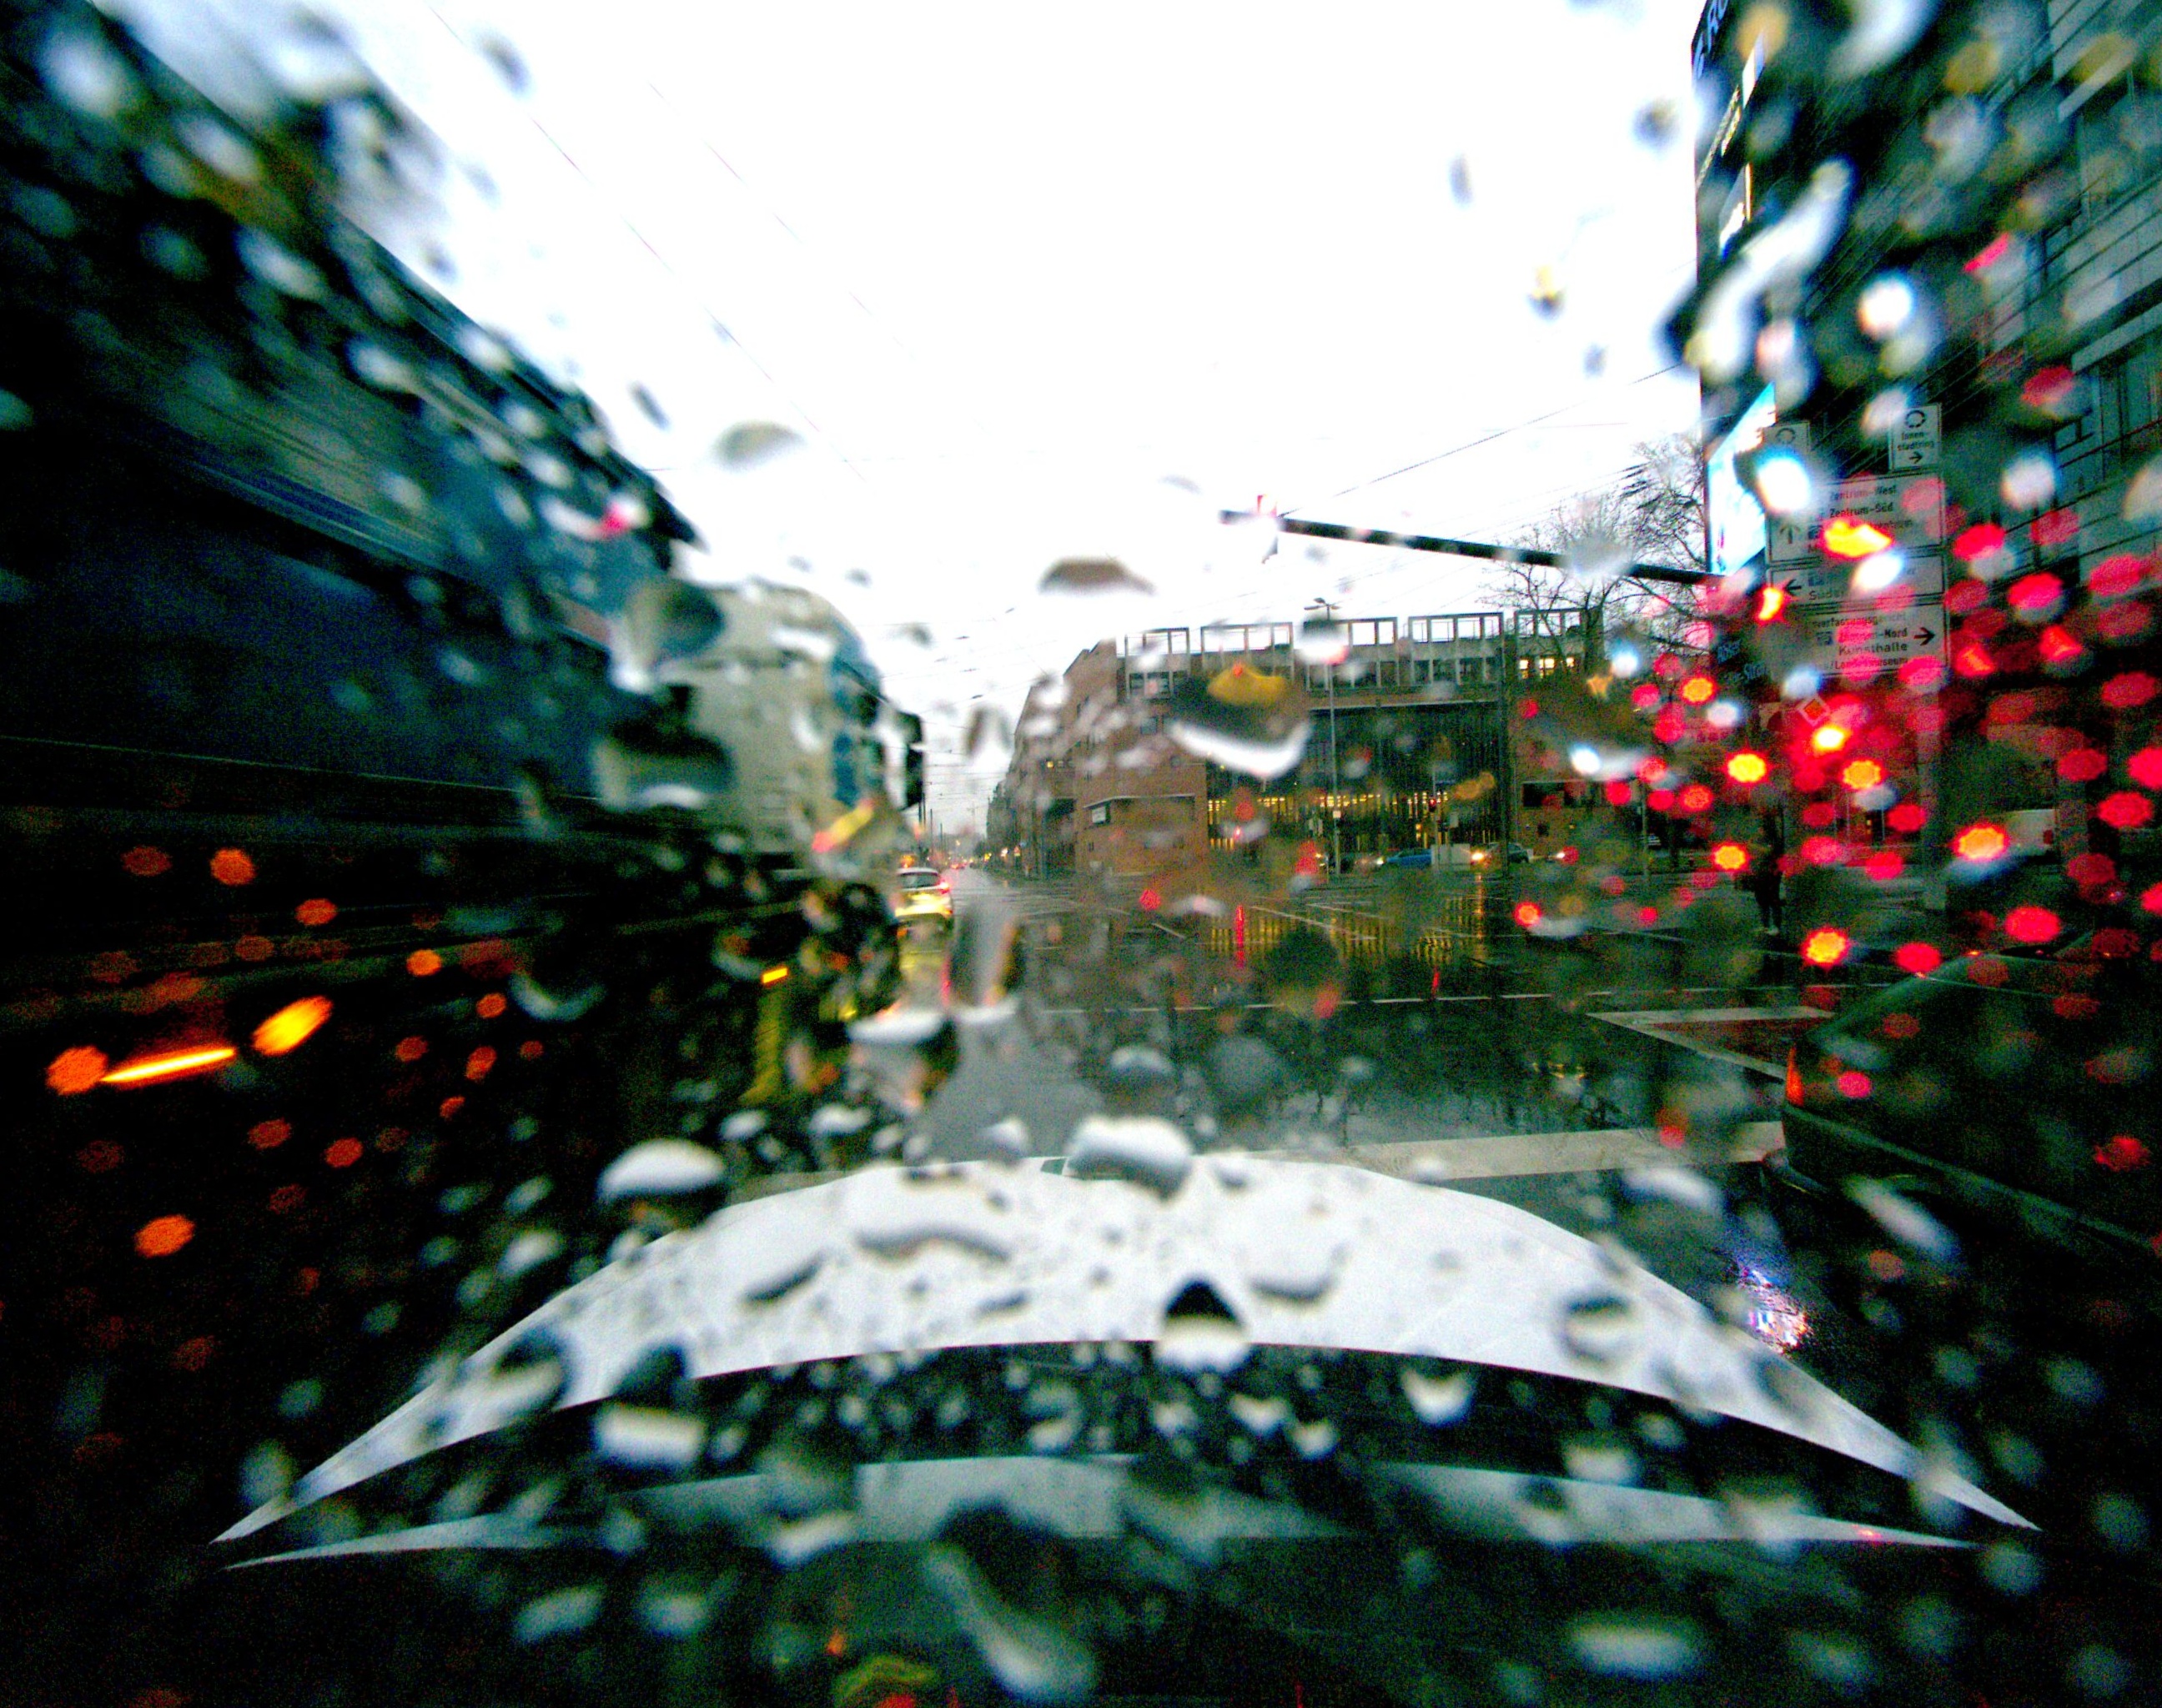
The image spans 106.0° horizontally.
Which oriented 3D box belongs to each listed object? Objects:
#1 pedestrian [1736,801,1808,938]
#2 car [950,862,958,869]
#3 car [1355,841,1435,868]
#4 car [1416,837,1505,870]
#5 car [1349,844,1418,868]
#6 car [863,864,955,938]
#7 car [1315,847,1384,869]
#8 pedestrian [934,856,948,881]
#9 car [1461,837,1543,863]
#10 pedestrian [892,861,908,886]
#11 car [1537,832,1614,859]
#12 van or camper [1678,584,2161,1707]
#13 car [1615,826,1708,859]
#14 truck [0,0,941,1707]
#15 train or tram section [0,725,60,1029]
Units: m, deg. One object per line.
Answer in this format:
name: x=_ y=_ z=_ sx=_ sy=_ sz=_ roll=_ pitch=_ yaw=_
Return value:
pedestrian: x=11.278 y=0.250 z=13.313 sx=0.574 sy=2.184 sz=0.619 roll=-1 pitch=-1 yaw=-4
car: x=-30.579 y=2.743 z=196.216 sx=1.869 sy=1.579 sz=3.989 roll=0 pitch=0 yaw=-8
car: x=18.313 y=0.013 z=47.527 sx=3.979 sy=1.263 sz=1.845 roll=-2 pitch=4 yaw=-4
car: x=20.432 y=-0.058 z=43.895 sx=3.979 sy=1.504 sz=1.845 roll=-2 pitch=4 yaw=-4
car: x=19.145 y=0.119 z=51.596 sx=3.713 sy=1.263 sz=1.845 roll=-2 pitch=4 yaw=-4
car: x=-4.033 y=0.980 z=18.655 sx=1.709 sy=1.447 sz=3.977 roll=-2 pitch=0 yaw=-17
car: x=18.247 y=0.290 z=55.447 sx=3.977 sy=1.310 sz=1.998 roll=-2 pitch=0 yaw=-2
pedestrian: x=-11.701 y=1.203 z=68.019 sx=1.069 sy=2.013 sz=0.682 roll=-2 pitch=0 yaw=-12
car: x=24.819 y=-0.256 z=48.079 sx=3.979 sy=1.288 sz=1.845 roll=-2 pitch=4 yaw=-4
pedestrian: x=-14.874 y=1.577 z=66.822 sx=0.973 sy=2.014 sz=0.838 roll=-1 pitch=-1 yaw=16
car: x=32.160 y=-0.579 z=53.074 sx=3.979 sy=1.504 sz=1.845 roll=-2 pitch=4 yaw=-4
van or camper: x=2.668 y=0.490 z=0.303 sx=1.750 sy=1.906 sz=4.420 roll=-1 pitch=0 yaw=2
car: x=32.247 y=-0.654 z=45.330 sx=3.979 sy=1.600 sz=1.845 roll=-2 pitch=4 yaw=-4
truck: x=-2.724 y=-0.144 z=3.166 sx=2.829 sy=3.633 sz=7.527 roll=-2 pitch=0 yaw=1
train or tram section: x=-14.303 y=0.288 z=0.565 sx=2.855 sy=3.614 sz=19.211 roll=-2 pitch=0 yaw=0
